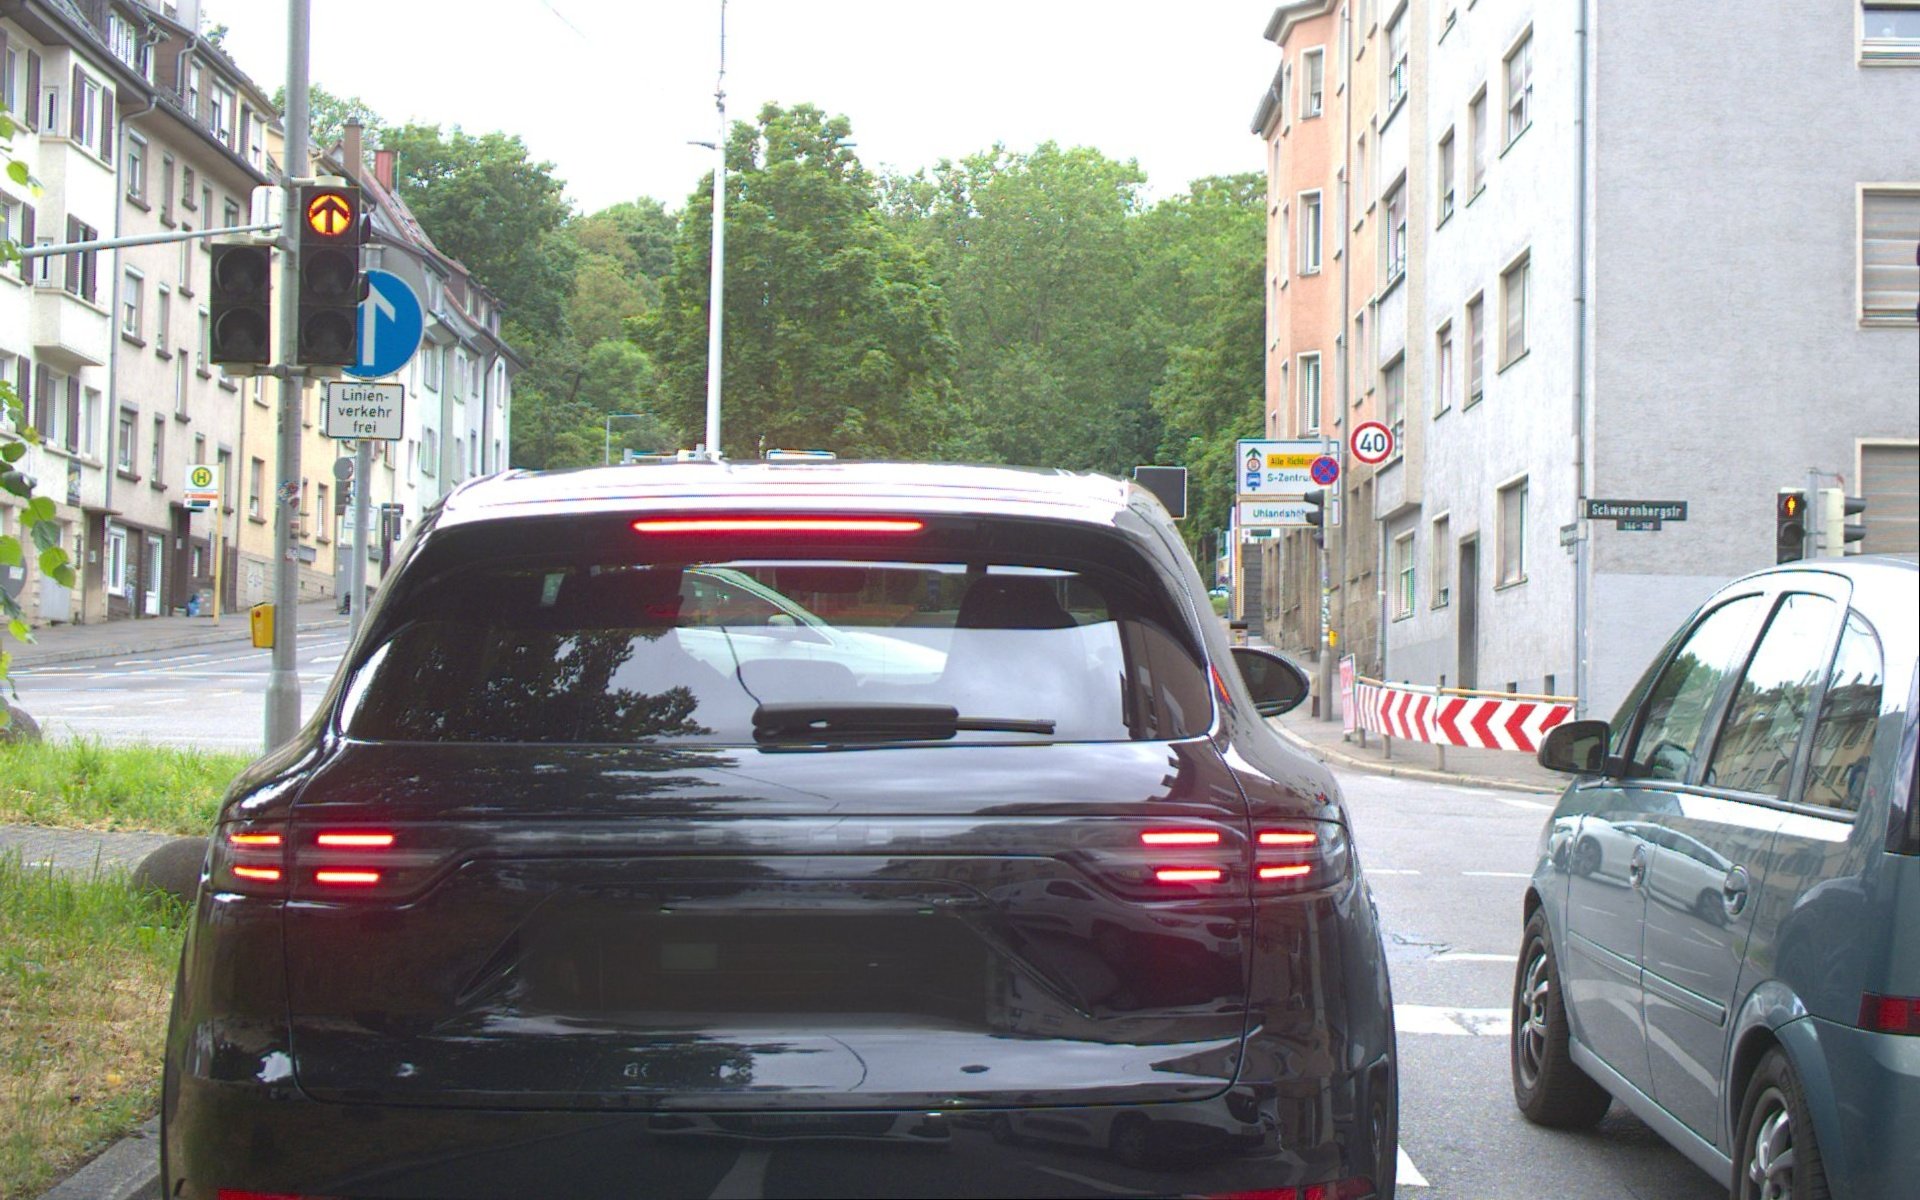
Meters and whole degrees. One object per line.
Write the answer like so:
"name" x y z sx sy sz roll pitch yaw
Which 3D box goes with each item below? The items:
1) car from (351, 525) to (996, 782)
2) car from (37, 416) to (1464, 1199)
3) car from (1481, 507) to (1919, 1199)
"car" -1.976 0.367 23.843 4.250 1.589 1.691 2 0 -5
"car" -0.310 0.563 6.717 1.955 1.669 4.000 0 1 -1
"car" 2.356 0.664 7.884 1.628 1.592 3.669 4 1 -1
